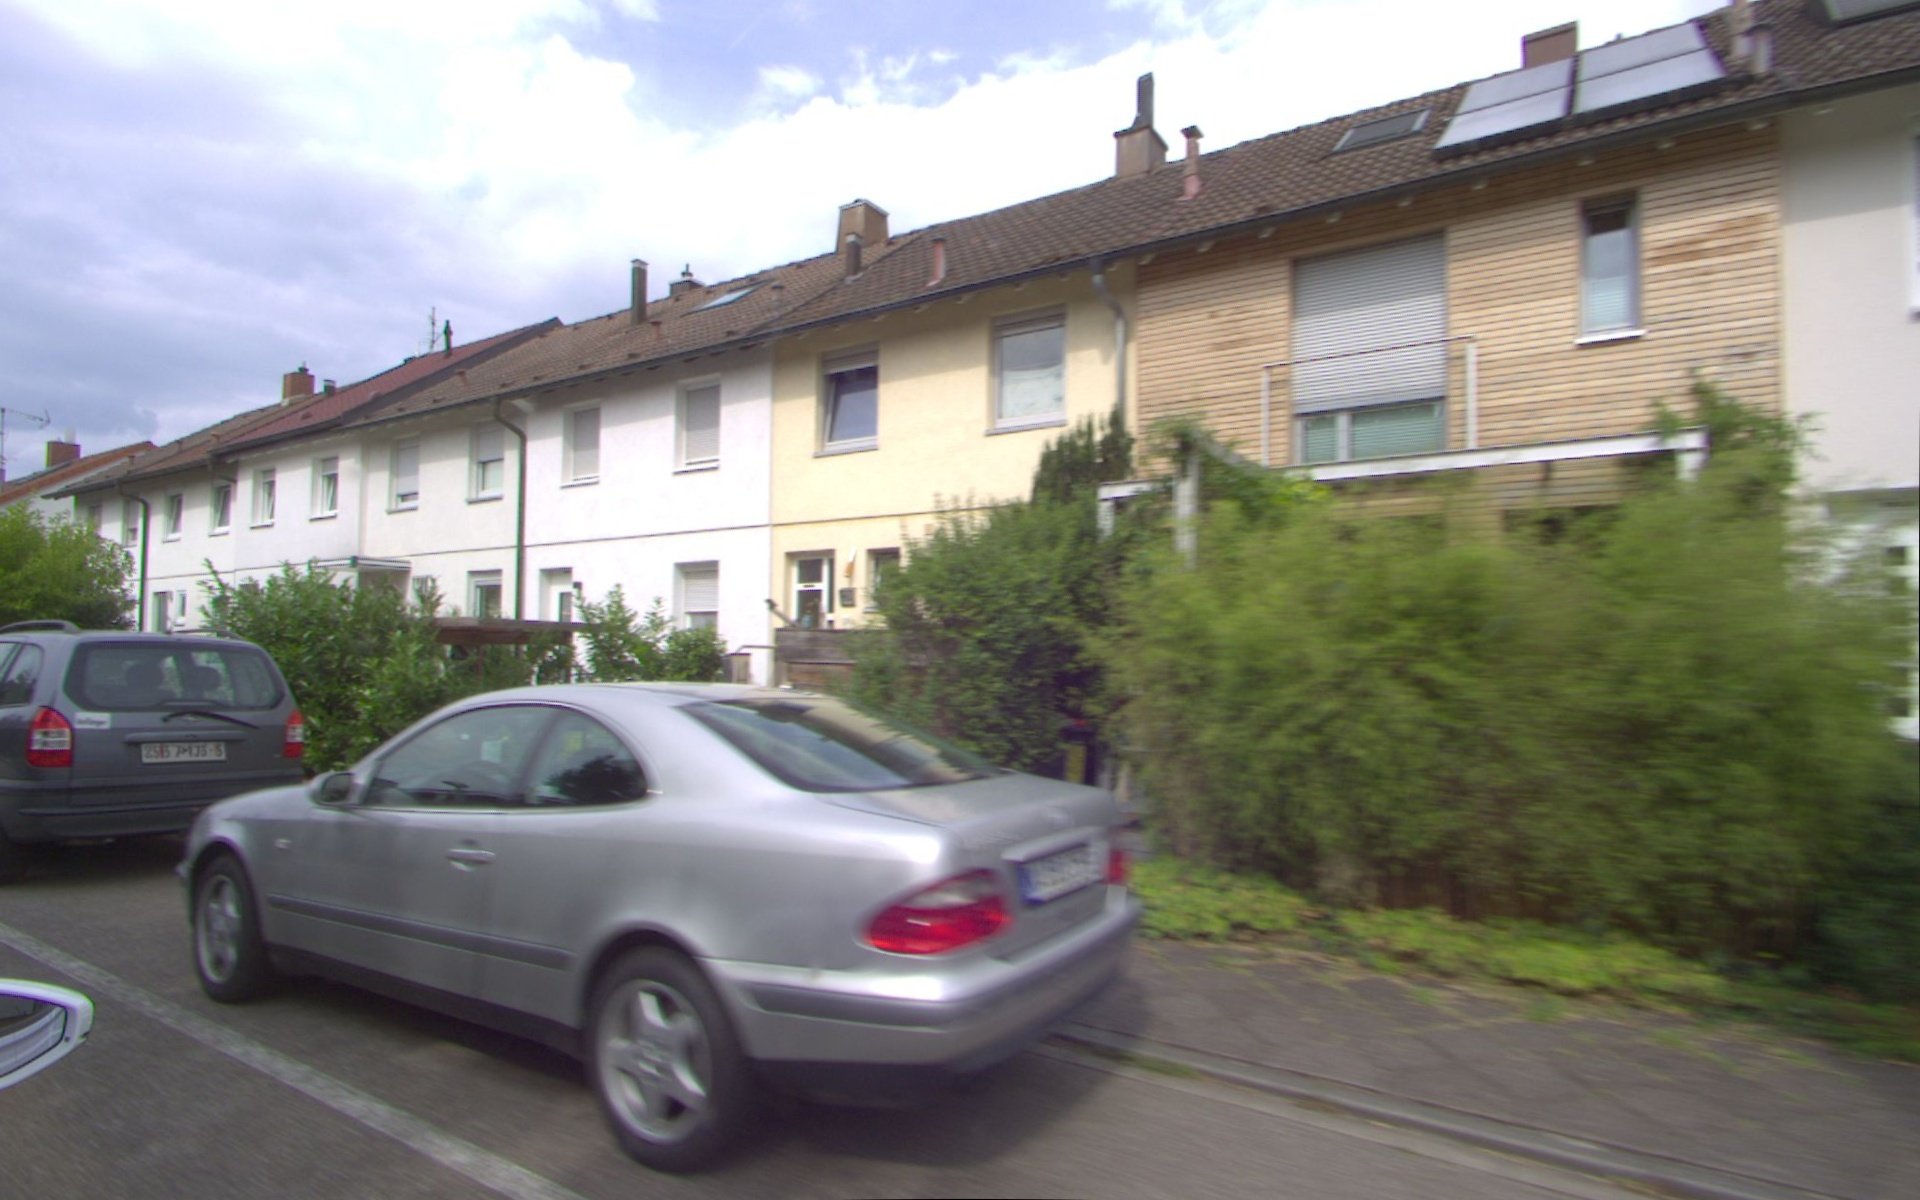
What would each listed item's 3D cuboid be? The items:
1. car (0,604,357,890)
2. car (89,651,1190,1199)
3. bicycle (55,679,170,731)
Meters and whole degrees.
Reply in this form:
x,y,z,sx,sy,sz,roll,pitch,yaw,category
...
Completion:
x,y,z,sx,sy,sz,roll,pitch,yaw,category
-6.891,0.939,7.835,4.399,1.674,1.866,-1,-3,31,car
-1.590,1.005,4.339,4.697,1.424,1.867,-1,-5,31,car
-15.801,1.944,18.720,0.731,0.876,1.593,1,-2,2,bicycle
